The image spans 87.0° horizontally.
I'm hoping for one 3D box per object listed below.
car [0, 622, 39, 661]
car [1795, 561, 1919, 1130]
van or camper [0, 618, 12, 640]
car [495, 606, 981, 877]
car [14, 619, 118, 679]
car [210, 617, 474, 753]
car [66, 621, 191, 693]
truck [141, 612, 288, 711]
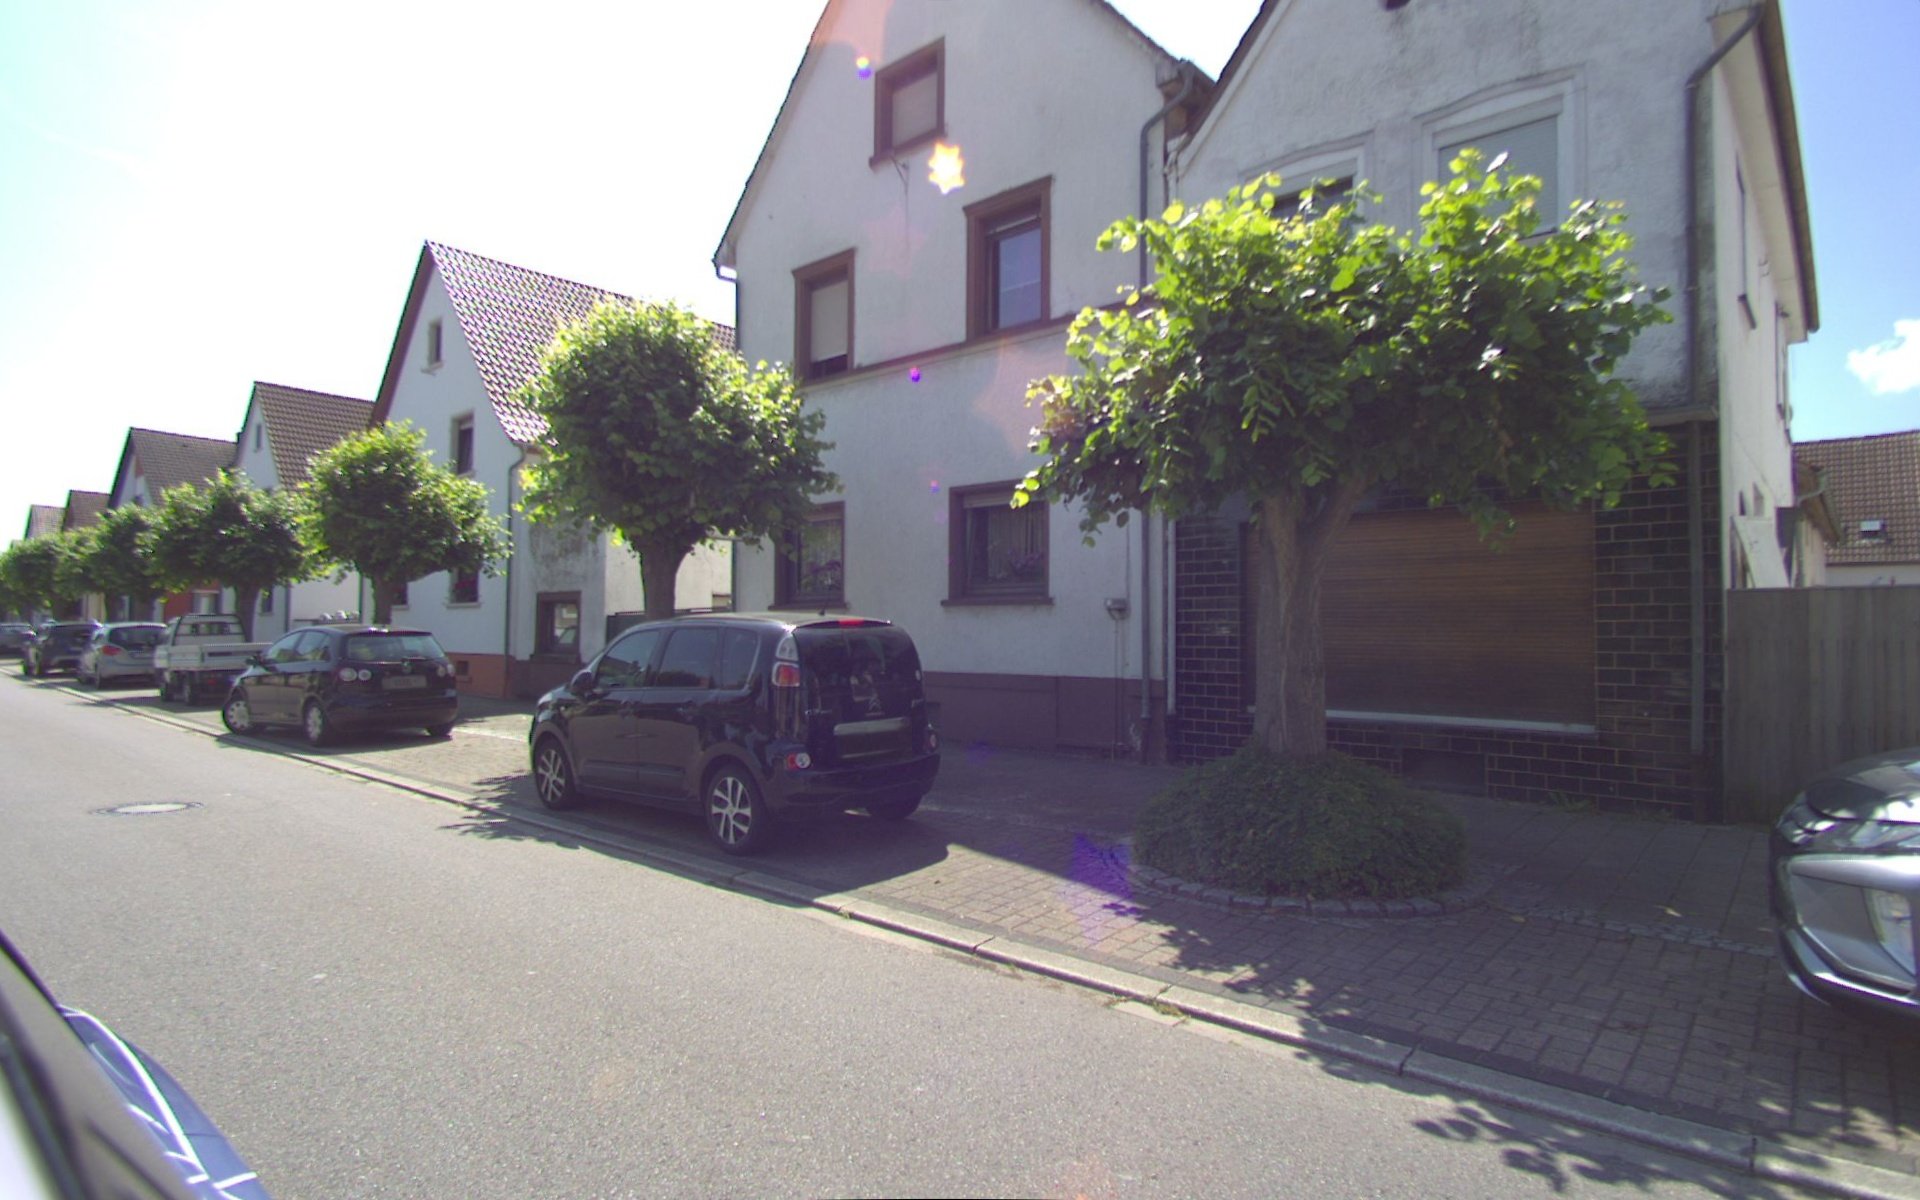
[{"bbox_3d":[-42.154,1.801,44.762,4.135,1.625,1.832,-1,-1,43],"label":"car"},{"bbox_3d":[4.983,0.710,2.530,4.361,1.665,1.974,-1,-3,38],"label":"car"},{"bbox_3d":[-82.222,2.486,84.243,1.999,1.877,4.691,-2,-1,40],"label":"van or camper"},{"bbox_3d":[-1.964,0.892,8.234,4.055,1.647,1.833,-1,-1,41],"label":"car"},{"bbox_3d":[-27.111,1.464,30.643,4.297,1.649,1.833,-2,-1,41],"label":"car"},{"bbox_3d":[-8.726,1.074,14.196,3.992,1.646,1.770,-1,-1,36],"label":"car"},{"bbox_3d":[-21.438,1.390,26.030,4.369,1.625,1.833,-1,0,41],"label":"car"},{"bbox_3d":[-15.211,1.165,20.565,4.190,1.778,1.559,-1,0,42],"label":"truck"}]
